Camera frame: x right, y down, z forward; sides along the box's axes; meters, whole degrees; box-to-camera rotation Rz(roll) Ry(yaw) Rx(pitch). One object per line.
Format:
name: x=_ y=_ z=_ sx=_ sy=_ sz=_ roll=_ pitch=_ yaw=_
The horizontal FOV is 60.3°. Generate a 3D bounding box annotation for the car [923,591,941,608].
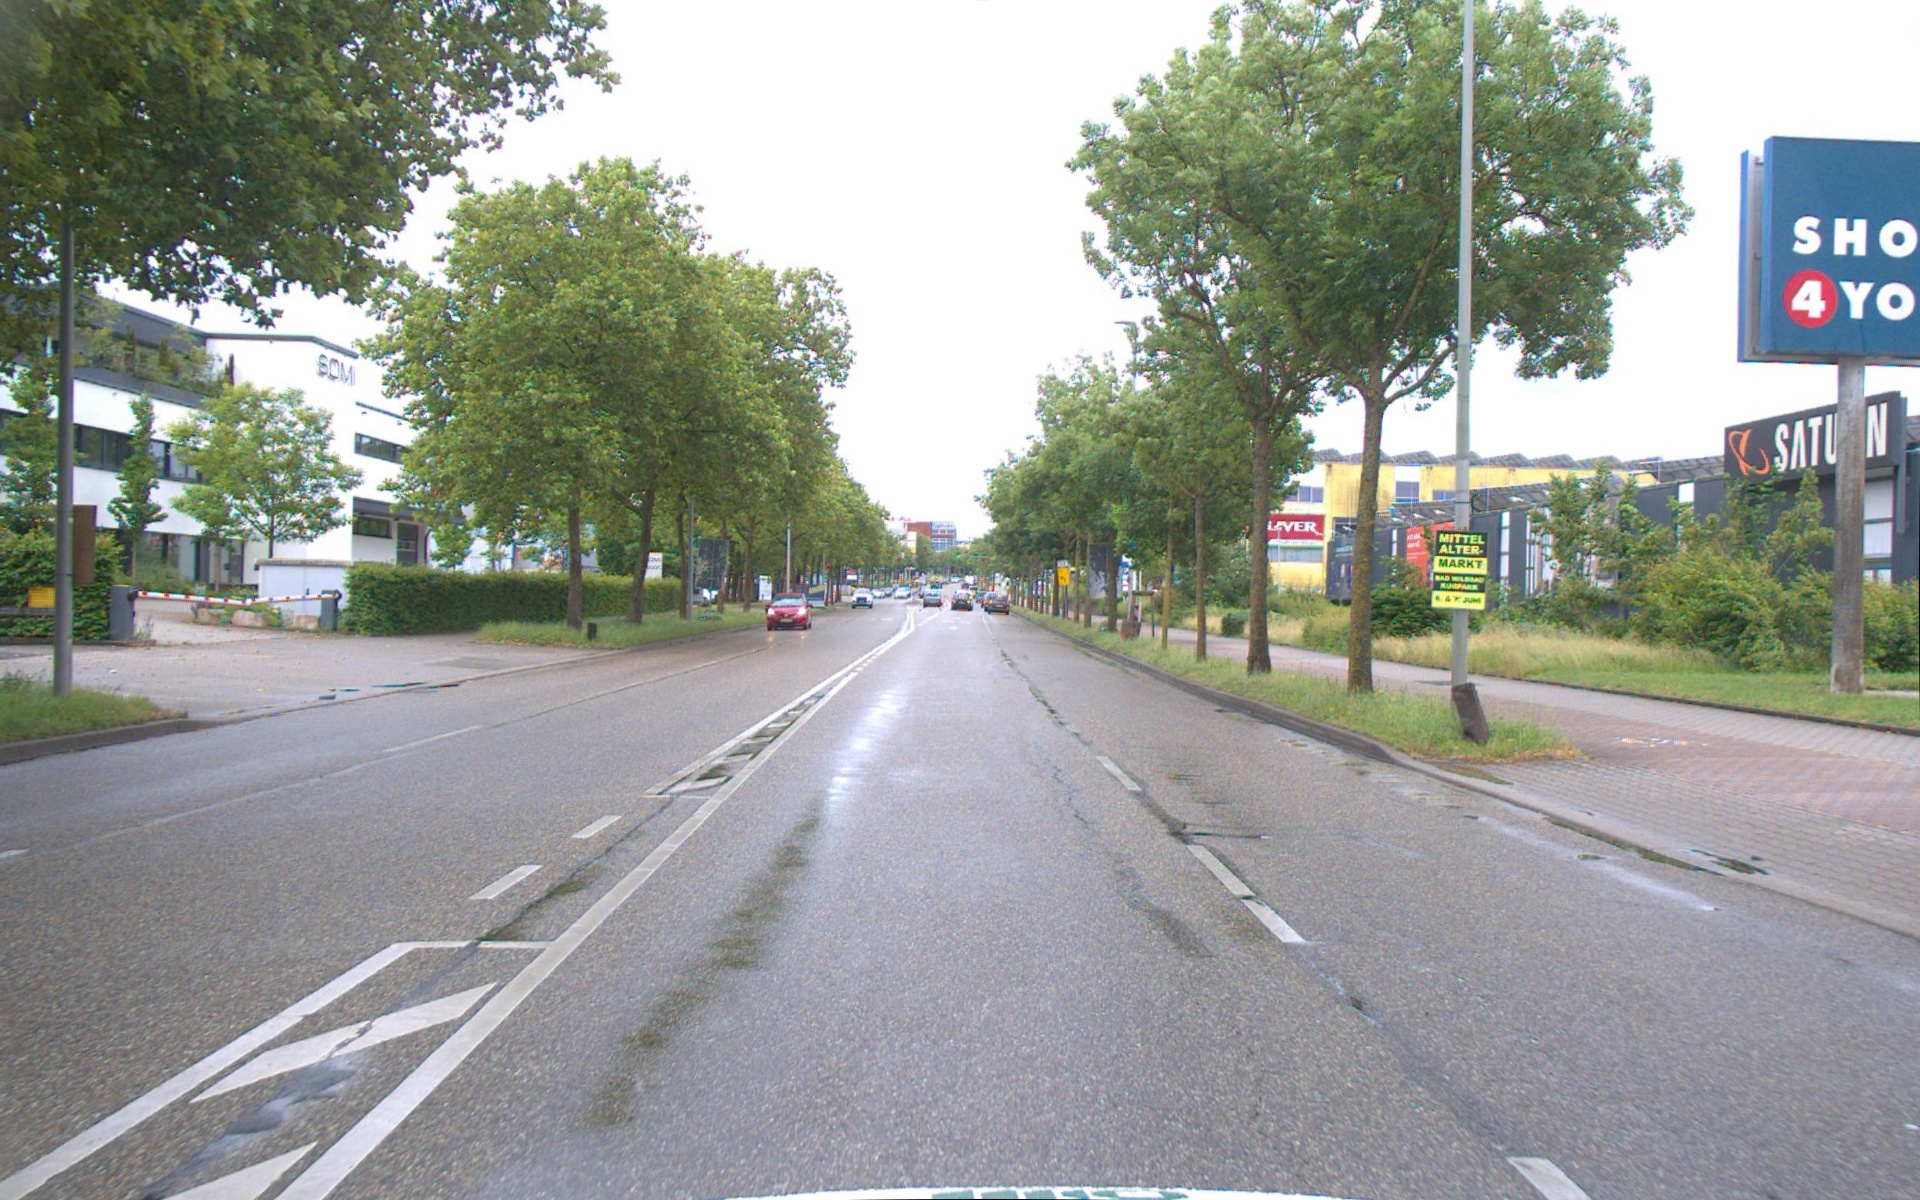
car: x=-2.971 y=-0.039 z=177.225 sx=1.709 sy=1.730 sz=4.001 roll=0 pitch=0 yaw=1

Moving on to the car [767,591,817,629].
car: x=-7.014 y=0.409 z=69.159 sx=1.690 sy=1.544 sz=3.821 roll=0 pitch=0 yaw=0

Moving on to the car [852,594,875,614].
car: x=-8.891 y=0.341 z=152.387 sx=1.669 sy=1.767 sz=4.001 roll=0 pitch=0 yaw=2

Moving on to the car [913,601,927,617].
car: x=-5.274 y=1.154 z=219.236 sx=1.790 sy=2.049 sz=3.998 roll=0 pitch=0 yaw=-2

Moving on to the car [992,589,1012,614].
car: x=3.559 y=0.121 z=140.409 sx=1.709 sy=2.049 sz=4.001 roll=0 pitch=0 yaw=1

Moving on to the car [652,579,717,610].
car: x=-17.795 y=-0.334 z=106.911 sx=3.905 sy=1.958 sz=1.826 roll=0 pitch=-1 yaw=0

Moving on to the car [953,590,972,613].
car: x=0.235 y=0.122 z=154.631 sx=1.709 sy=2.049 sz=4.001 roll=0 pitch=0 yaw=1

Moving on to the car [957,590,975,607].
car: x=0.620 y=-0.149 z=167.982 sx=1.709 sy=1.767 sz=4.001 roll=0 pitch=0 yaw=1

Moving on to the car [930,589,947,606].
car: x=-2.503 y=-0.315 z=191.983 sx=1.852 sy=1.909 sz=4.123 roll=0 pitch=0 yaw=0

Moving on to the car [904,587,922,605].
car: x=-5.404 y=-0.458 z=190.303 sx=1.953 sy=2.049 sz=3.999 roll=0 pitch=0 yaw=-1

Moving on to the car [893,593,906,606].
car: x=-8.758 y=-0.060 z=239.699 sx=1.790 sy=1.758 sz=3.998 roll=0 pitch=0 yaw=-2
